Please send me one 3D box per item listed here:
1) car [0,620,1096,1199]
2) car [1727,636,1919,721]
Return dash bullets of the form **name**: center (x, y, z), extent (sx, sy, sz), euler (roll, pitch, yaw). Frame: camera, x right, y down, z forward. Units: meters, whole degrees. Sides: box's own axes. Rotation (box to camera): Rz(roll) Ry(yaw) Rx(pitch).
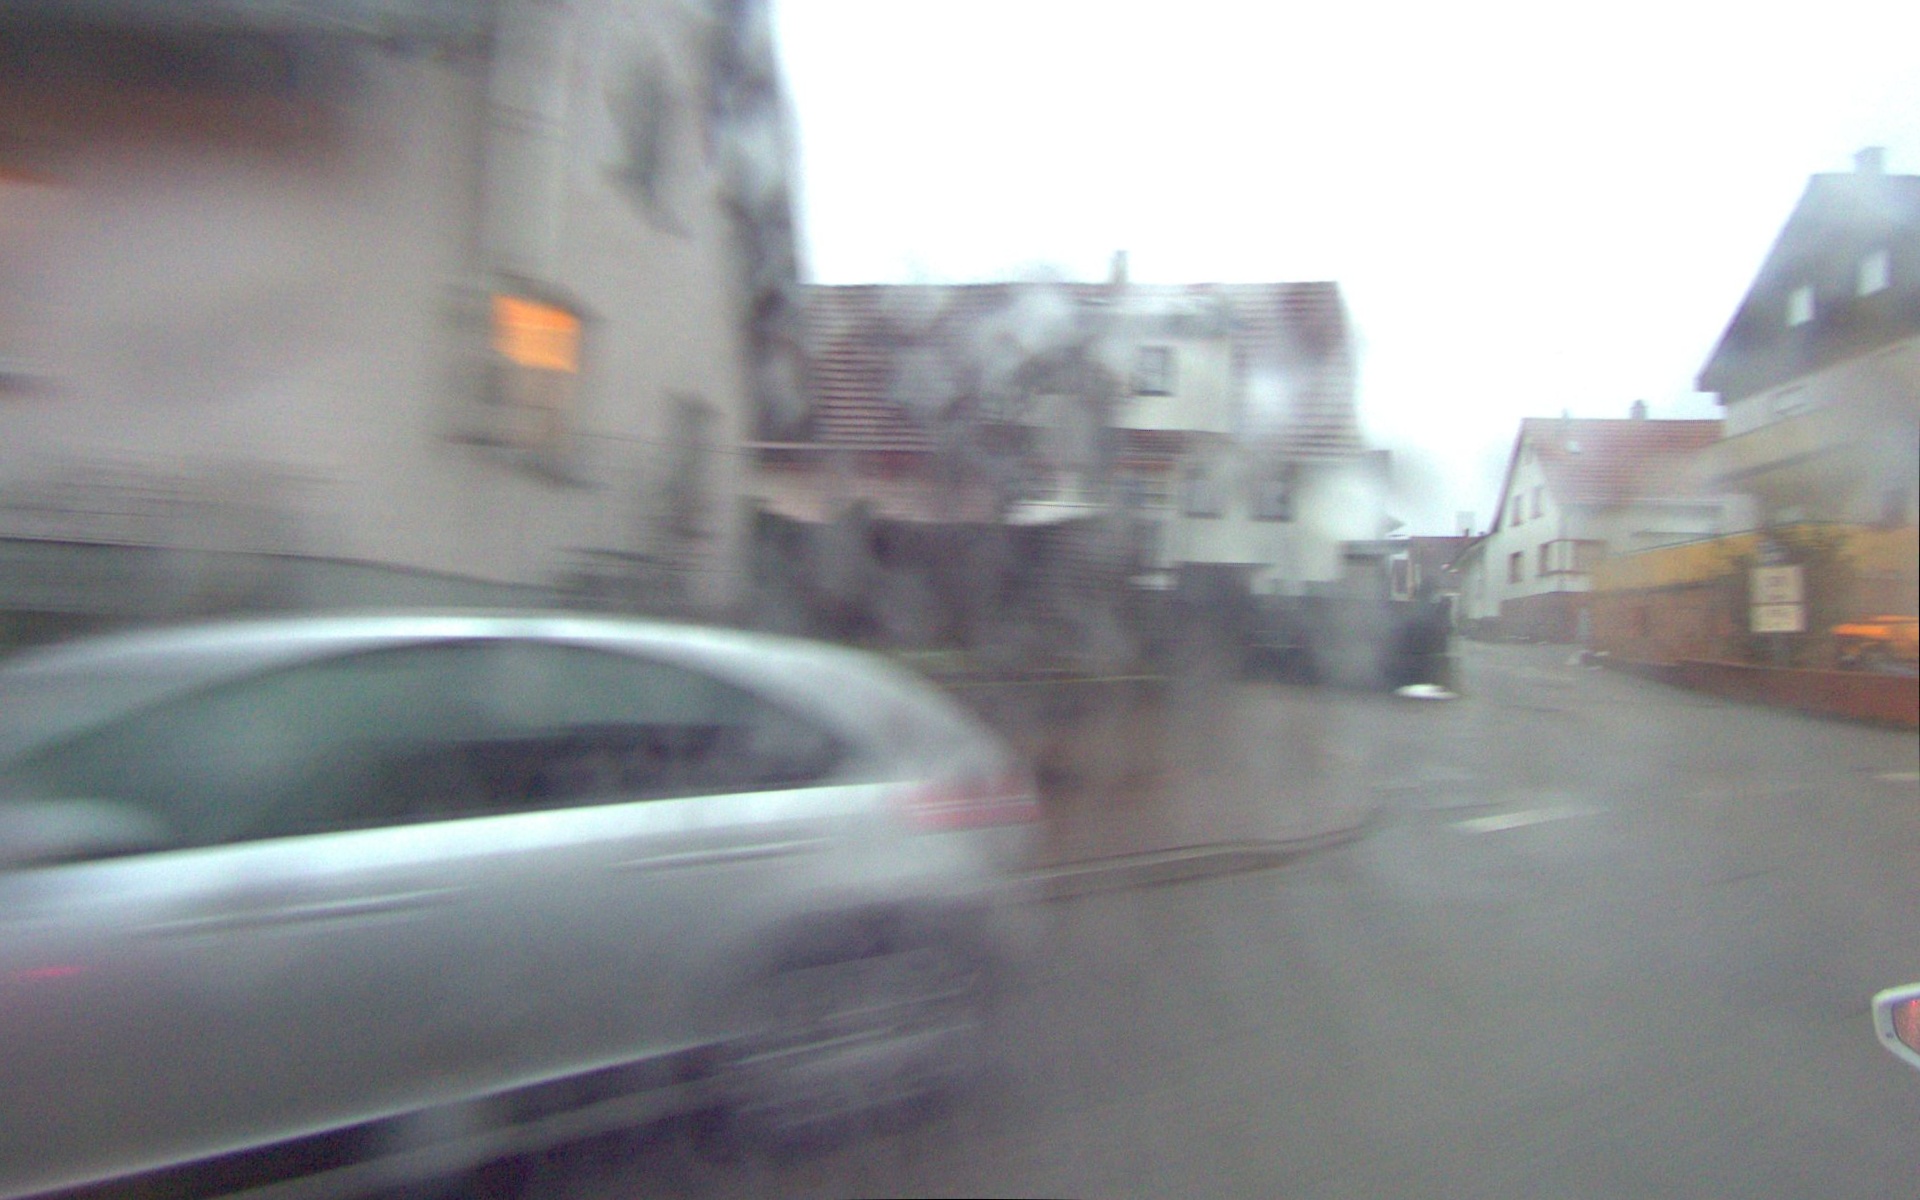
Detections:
- **car**: center (-1.775, 0.777, 2.808), extent (4.098, 1.407, 1.740), euler (1, -1, -31)
- **car**: center (17.690, 1.501, 20.013), extent (1.879, 1.435, 4.001), euler (1, -1, 3)
